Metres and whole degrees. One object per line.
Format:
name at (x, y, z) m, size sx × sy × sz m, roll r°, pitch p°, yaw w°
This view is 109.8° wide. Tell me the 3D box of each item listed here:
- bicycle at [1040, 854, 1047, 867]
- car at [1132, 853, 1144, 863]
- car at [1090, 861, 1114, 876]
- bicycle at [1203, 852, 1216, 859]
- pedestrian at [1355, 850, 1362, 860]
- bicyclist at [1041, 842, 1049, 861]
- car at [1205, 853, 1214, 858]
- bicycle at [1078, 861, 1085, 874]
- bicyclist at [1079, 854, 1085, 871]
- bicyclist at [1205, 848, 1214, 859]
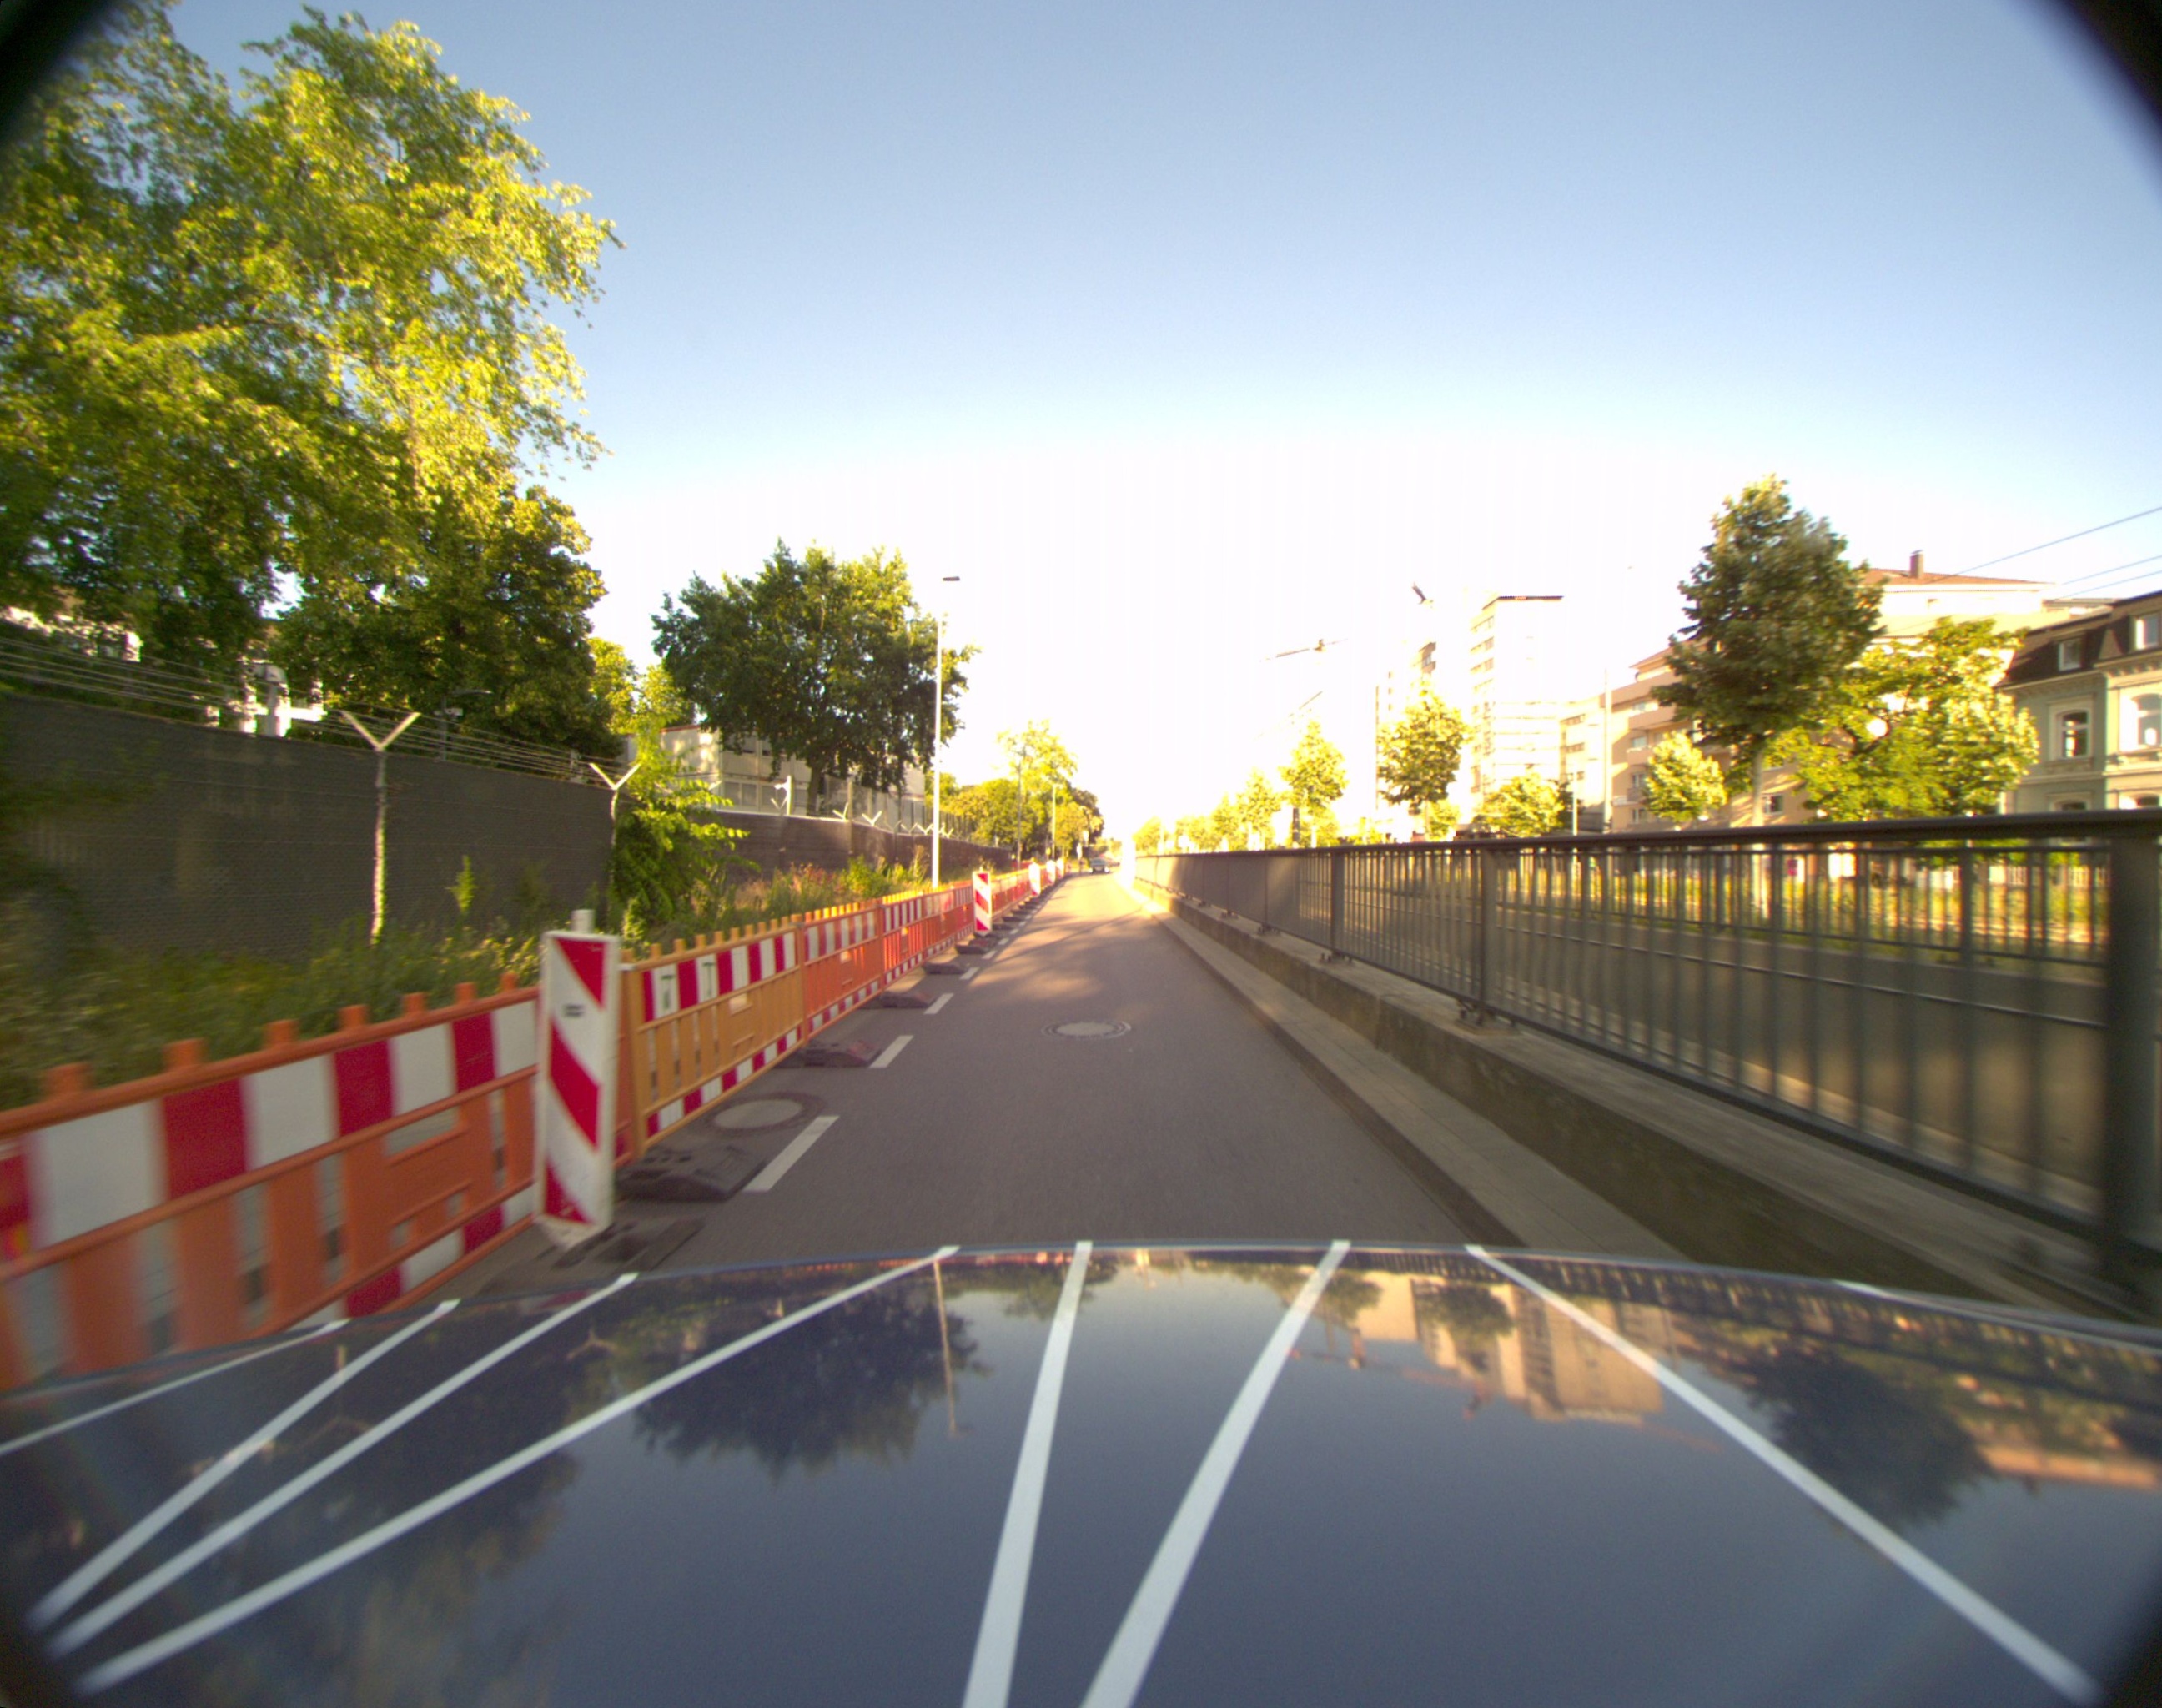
bicycle at (-3.190, 0.535, 64.381) m, size 0.428 × 1.055 × 1.911 m, roll 0°, pitch 0°, yaw 2°
car at (7.827, 0.543, 104.213) m, size 1.591 × 1.449 × 4.001 m, roll 0°, pitch 0°, yaw 2°
car at (2.043, 1.399, 72.827) m, size 1.998 × 1.346 × 4.001 m, roll 0°, pitch 0°, yaw 5°
bicycle at (15.580, 0.211, 92.186) m, size 0.507 × 0.886 × 2.027 m, roll -1°, pitch 0°, yaw -22°
pedestrian at (44.137, 0.135, 120.864) m, size 0.776 × 1.630 × 0.882 m, roll 0°, pitch 1°, yaw 1°
bicyclist at (-3.091, -0.243, 64.701) m, size 0.585 × 1.605 × 0.903 m, roll 0°, pitch 1°, yaw 2°
car at (35.731, 0.421, 211.187) m, size 1.780 × 1.455 × 4.662 m, roll 0°, pitch 0°, yaw 1°
bicycle at (0.067, 1.063, 60.772) m, size 0.506 × 1.018 × 1.505 m, roll 0°, pitch 0°, yaw 2°
bicyclist at (0.071, 0.690, 60.798) m, size 0.516 × 1.399 × 0.805 m, roll 0°, pitch 1°, yaw 1°
bicyclist at (15.539, -0.079, 91.951) m, size 0.737 × 1.386 × 0.715 m, roll -1°, pitch 1°, yaw -23°
